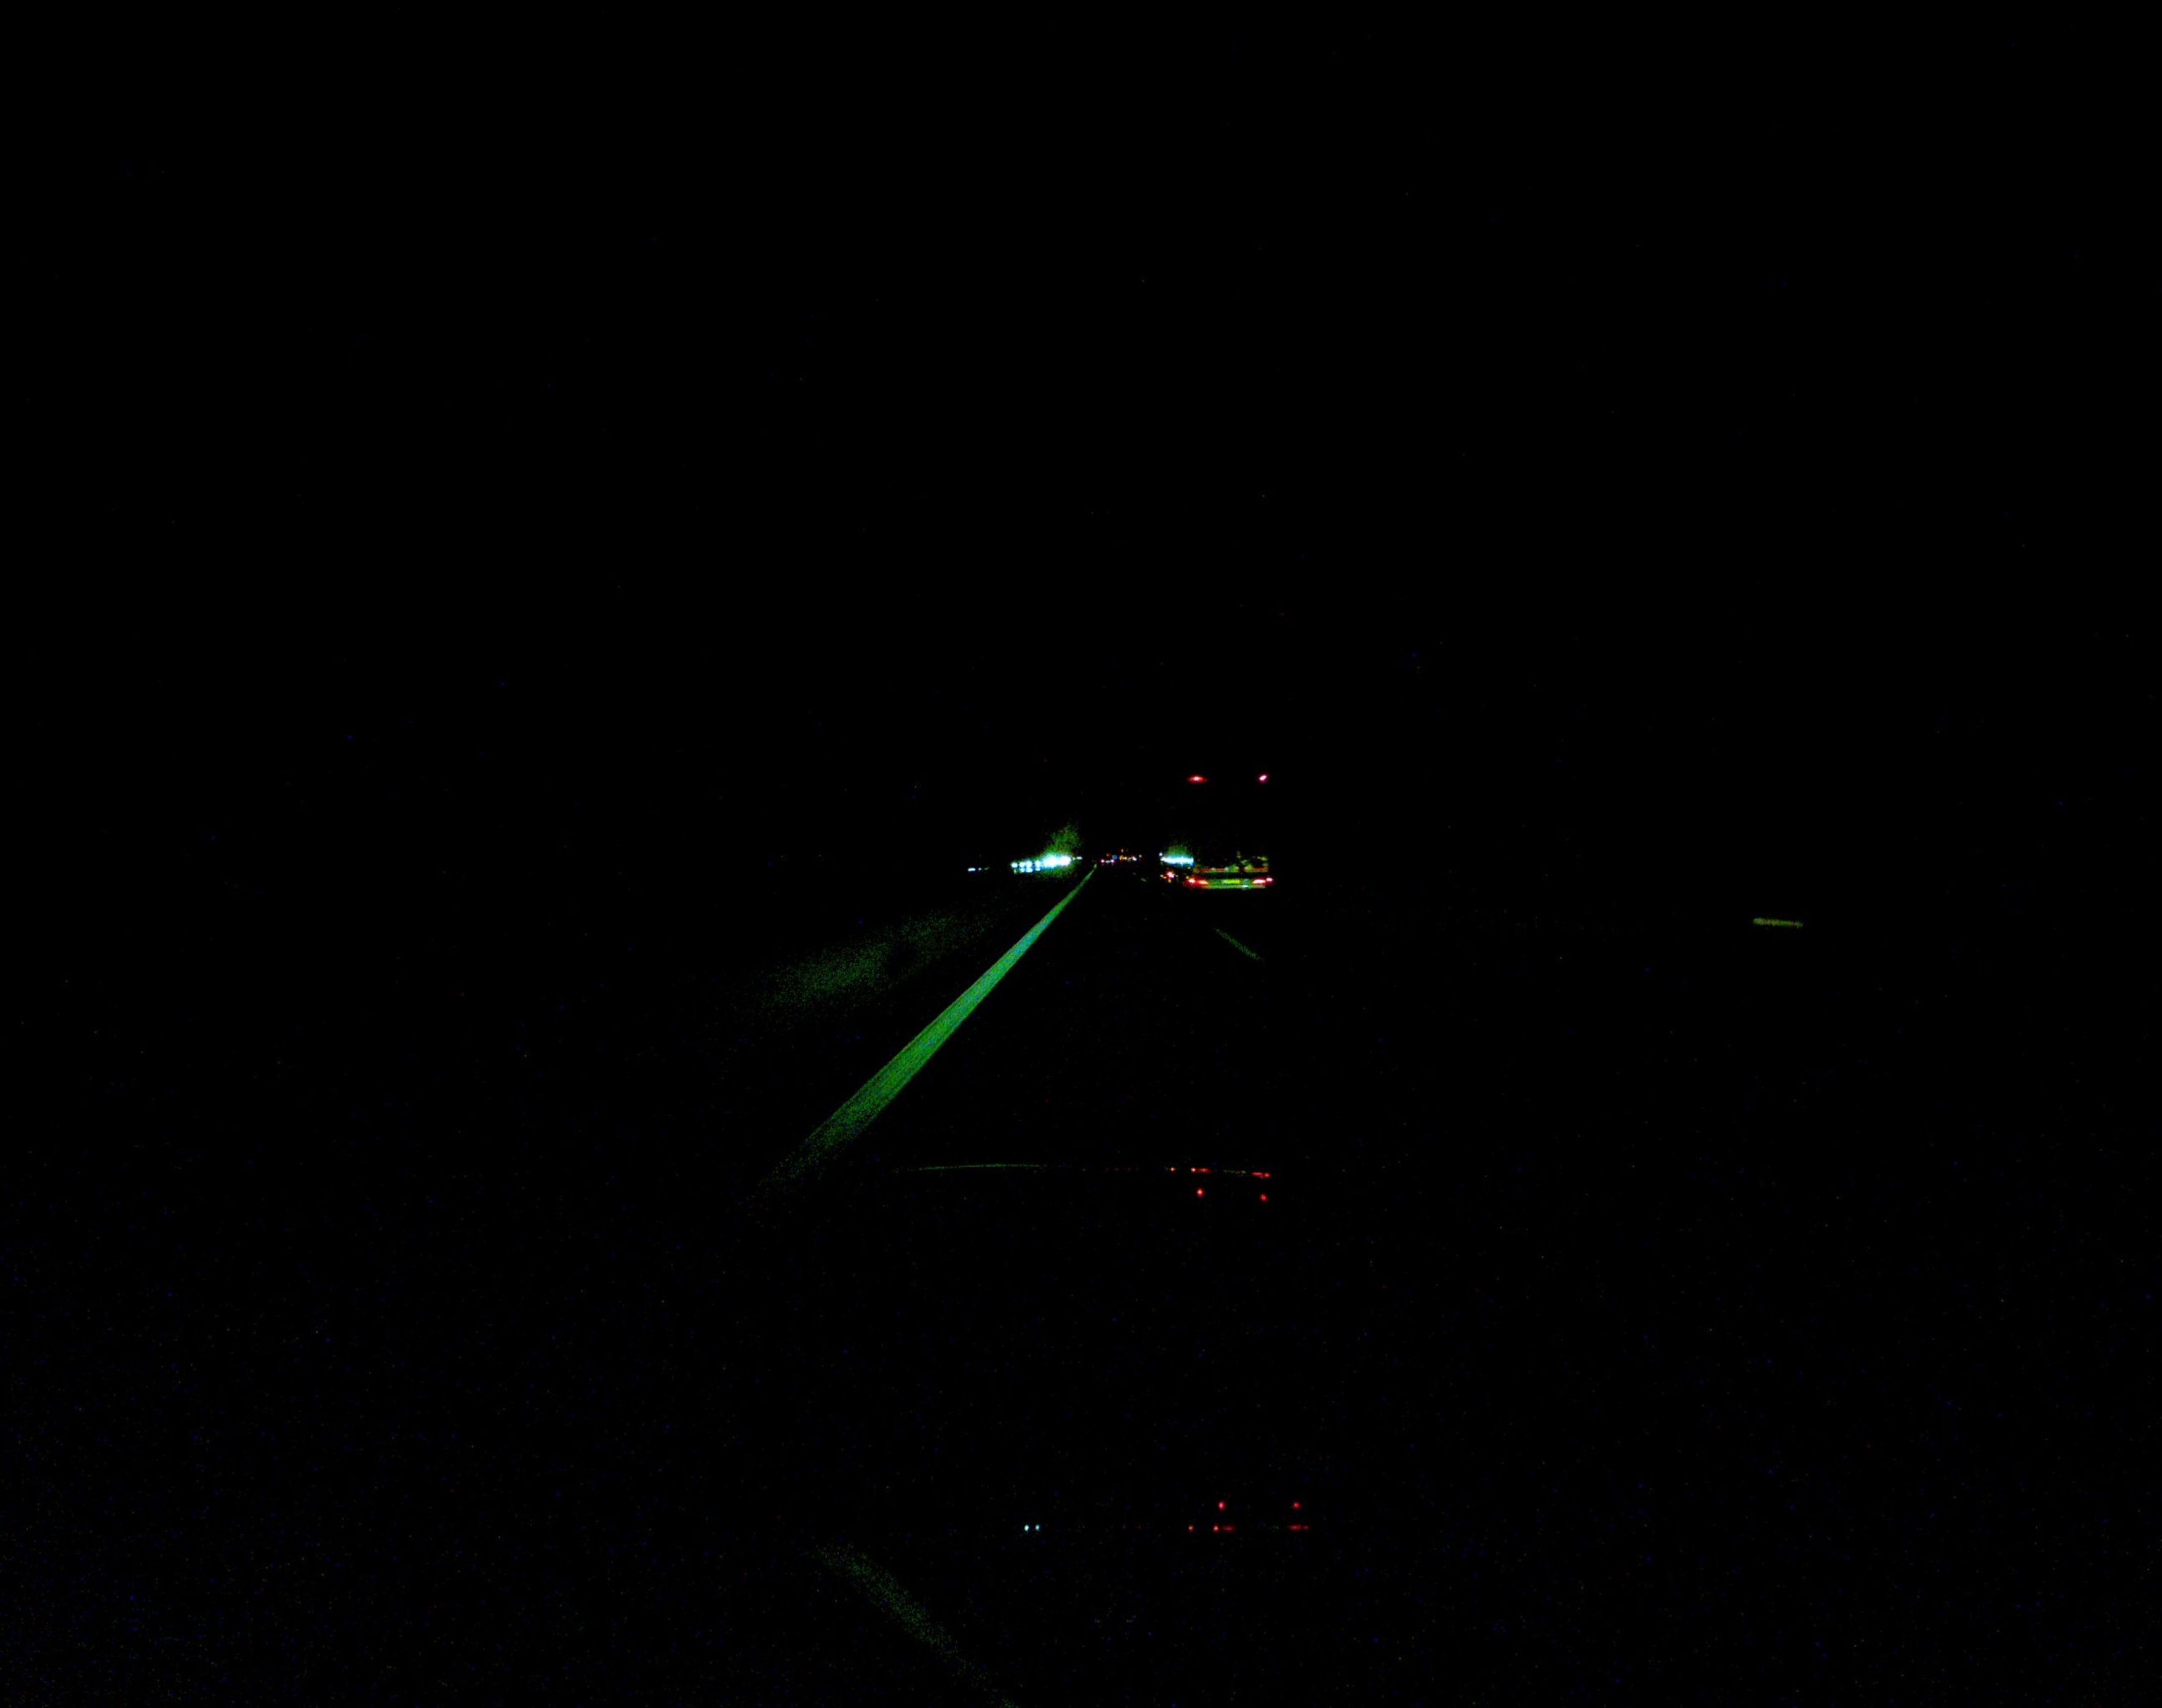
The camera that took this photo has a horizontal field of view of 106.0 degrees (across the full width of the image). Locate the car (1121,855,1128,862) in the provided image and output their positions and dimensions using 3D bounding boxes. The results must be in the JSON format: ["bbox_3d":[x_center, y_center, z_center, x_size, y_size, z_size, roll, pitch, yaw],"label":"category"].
[{"bbox_3d":[8.483,0.940,159.189,1.341,1.387,3.501,0,0,1],"label":"car"}]

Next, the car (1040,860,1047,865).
[{"bbox_3d":[-9.601,2.197,209.622,1.657,1.334,4.808,-3,0,0],"label":"car"}]

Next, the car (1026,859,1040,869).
[{"bbox_3d":[-7.786,1.595,131.228,1.744,1.478,4.765,-3,0,2],"label":"car"}]

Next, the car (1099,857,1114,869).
[{"bbox_3d":[3.204,1.125,104.069,1.815,1.466,4.248,0,0,1],"label":"car"}]

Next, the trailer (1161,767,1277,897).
[{"bbox_3d":[5.122,-0.692,33.057,2.732,4.206,13.513,0,0,1],"label":"trailer"}]

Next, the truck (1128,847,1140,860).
[{"bbox_3d":[11.542,-0.062,178.246,2.071,2.691,7.303,0,-1,-1],"label":"truck"}]

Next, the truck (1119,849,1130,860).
[{"bbox_3d":[13.588,0.092,253.742,3.034,3.325,10.141,0,0,0],"label":"truck"}]

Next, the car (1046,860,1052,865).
[{"bbox_3d":[-9.487,2.627,243.473,1.626,1.394,4.877,-3,0,0],"label":"car"}]

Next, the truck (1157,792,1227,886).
[{"bbox_3d":[5.280,-0.673,39.755,2.652,4.206,6.724,0,0,1],"label":"truck"}]

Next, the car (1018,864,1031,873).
[{"bbox_3d":[-9.819,2.487,141.980,1.743,1.478,4.484,-3,0,2],"label":"car"}]

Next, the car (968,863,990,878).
[{"bbox_3d":[-11.817,1.894,94.484,1.744,1.478,4.943,-3,0,1],"label":"car"}]

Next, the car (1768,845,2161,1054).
[{"bbox_3d":[8.540,0.678,6.991,1.814,1.466,4.249,0,0,2],"label":"car"}]
